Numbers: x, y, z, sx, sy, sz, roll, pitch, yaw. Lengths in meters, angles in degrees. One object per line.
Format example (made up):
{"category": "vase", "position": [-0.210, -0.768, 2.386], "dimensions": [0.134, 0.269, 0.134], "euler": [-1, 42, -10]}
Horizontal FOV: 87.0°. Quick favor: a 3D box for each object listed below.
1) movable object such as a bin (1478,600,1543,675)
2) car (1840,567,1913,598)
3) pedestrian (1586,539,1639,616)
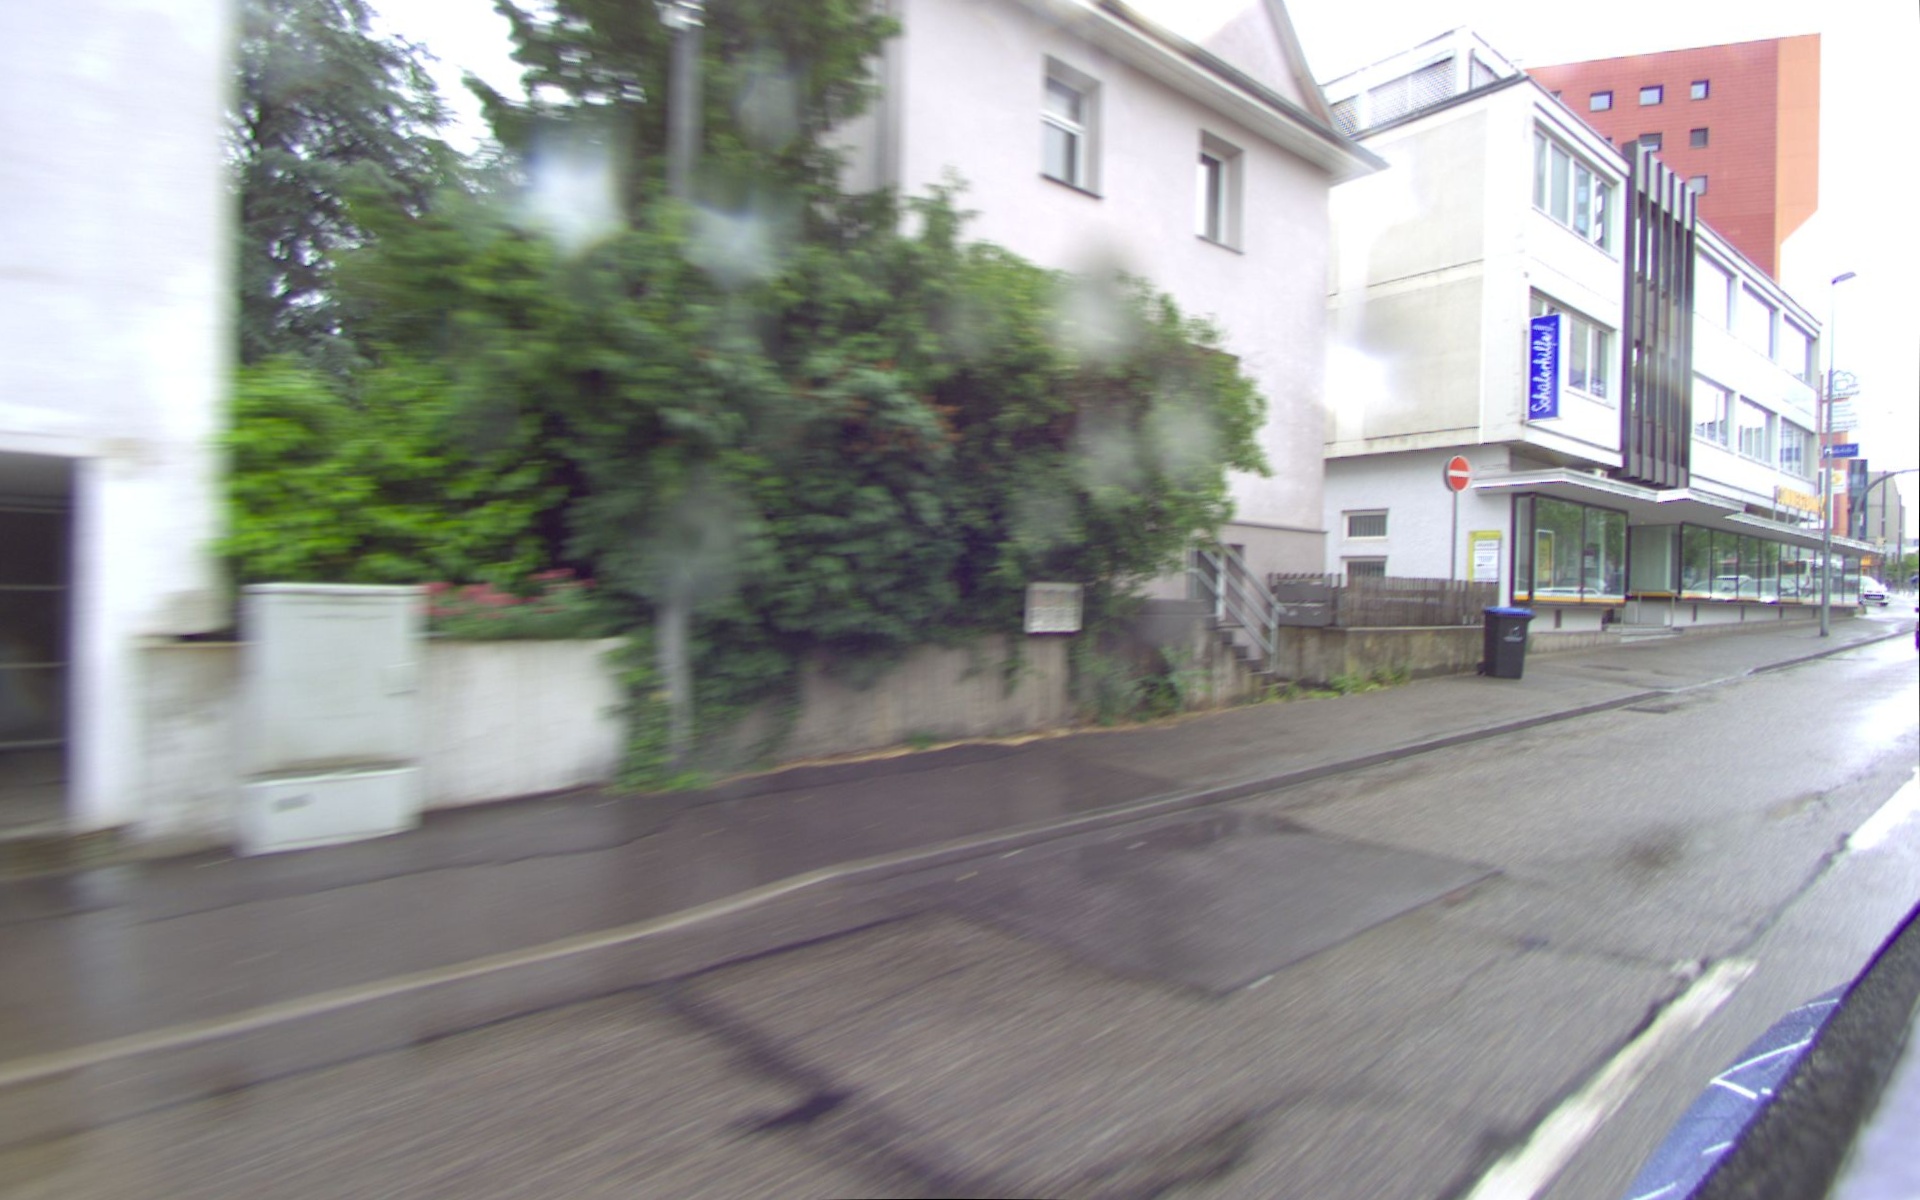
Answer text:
{"category": "movable object such as a bin", "position": [8.265, 0.552, 15.193], "dimensions": [0.816, 1.061, 0.577], "euler": [1, 1, -41]}
{"category": "car", "position": [47.223, -0.920, 52.230], "dimensions": [1.596, 1.479, 3.403], "euler": [1, 3, 20]}
{"category": "pedestrian", "position": [15.615, -0.522, 24.221], "dimensions": [0.934, 1.803, 0.732], "euler": [1, 0, -33]}
